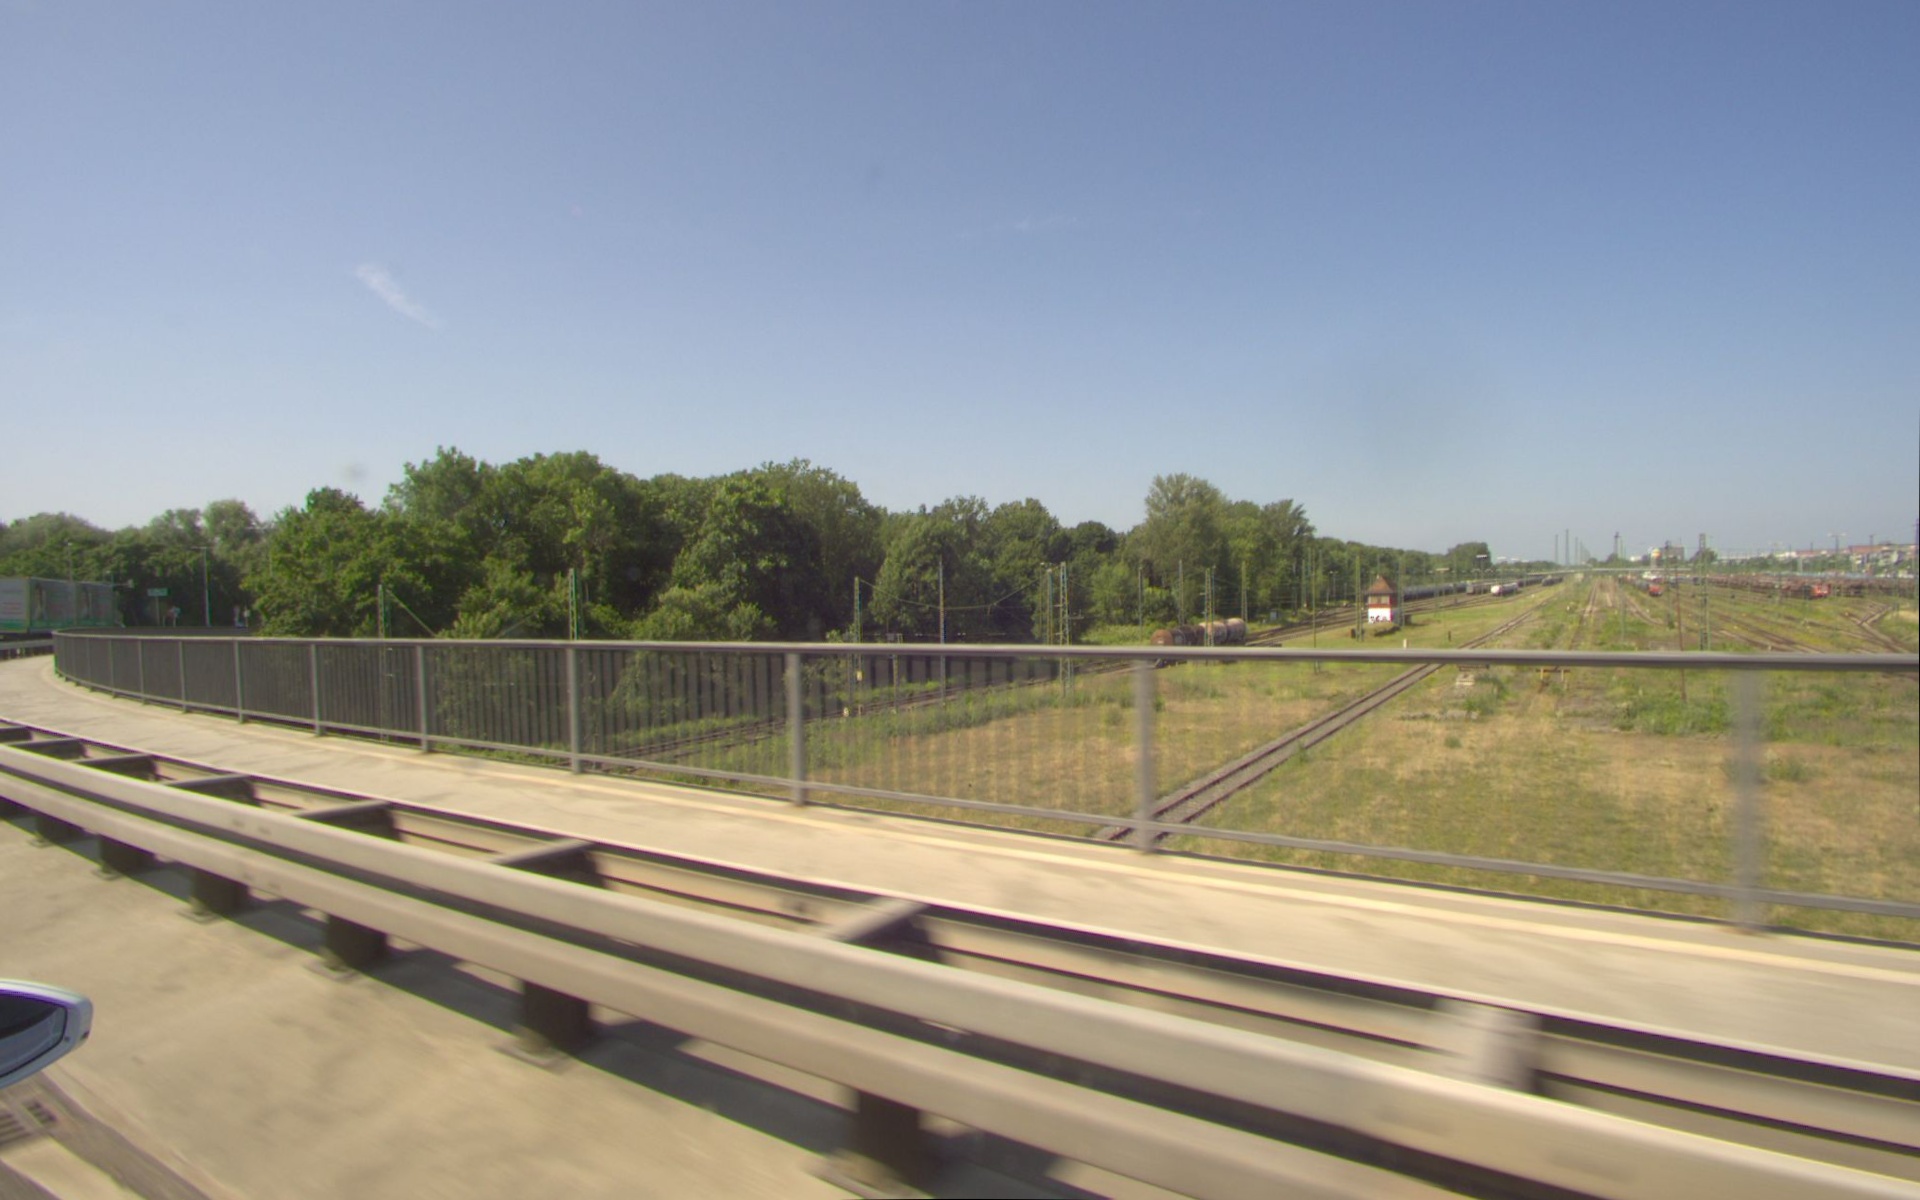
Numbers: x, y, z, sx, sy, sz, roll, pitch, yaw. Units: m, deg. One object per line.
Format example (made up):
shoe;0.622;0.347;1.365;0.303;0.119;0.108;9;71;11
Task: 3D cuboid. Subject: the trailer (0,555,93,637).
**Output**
trailer;-46.780;-0.147;50.159;3.187;3.806;7.789;2;-2;-28

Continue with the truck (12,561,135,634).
truck;-50.490;-0.041;57.335;3.223;3.806;8.333;2;-2;-28
